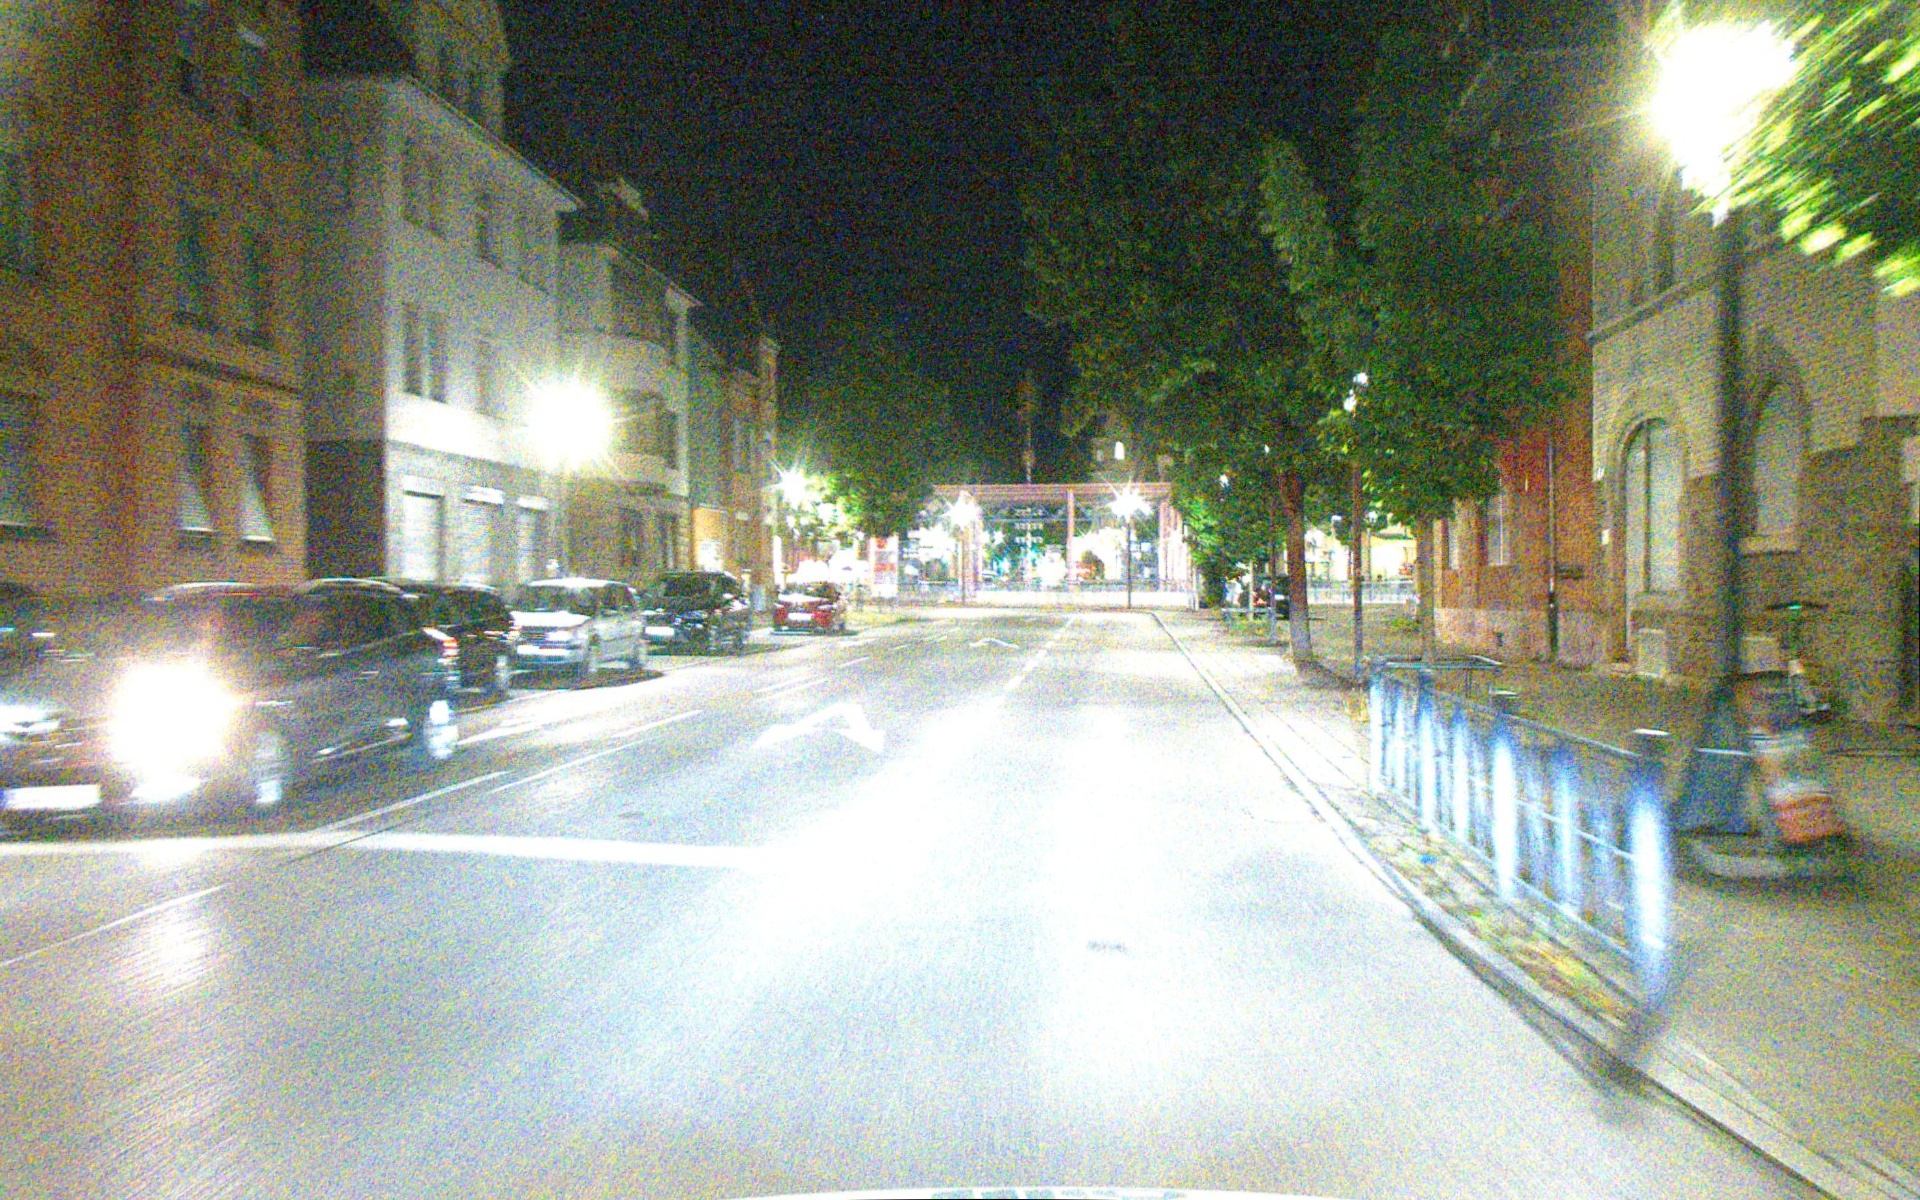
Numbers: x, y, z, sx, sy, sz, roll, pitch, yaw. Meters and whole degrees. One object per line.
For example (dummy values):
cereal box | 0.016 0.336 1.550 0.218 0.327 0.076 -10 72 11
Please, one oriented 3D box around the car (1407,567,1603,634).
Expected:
car | 13.242 0.007 40.398 4.332 1.485 1.791 -1 1 11

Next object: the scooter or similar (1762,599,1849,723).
scooter or similar | 8.438 0.587 16.547 0.412 1.150 1.495 -1 1 13

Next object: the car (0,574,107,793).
car | -7.776 0.628 11.276 1.558 1.517 3.703 2 3 10

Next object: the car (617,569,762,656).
car | -5.465 0.204 34.030 1.747 1.609 4.415 2 1 7

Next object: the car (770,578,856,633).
car | -4.081 0.118 46.512 1.747 1.440 4.129 1 1 4

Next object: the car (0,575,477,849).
car | -4.855 0.599 11.059 1.679 1.454 4.003 -2 1 6

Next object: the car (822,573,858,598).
car | -7.857 -0.977 108.585 1.952 1.601 4.330 -1 1 1

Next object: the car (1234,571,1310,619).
car | 10.139 -0.203 53.971 1.698 1.485 4.729 0 1 2

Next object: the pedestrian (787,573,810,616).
pedestrian | -7.068 -0.255 72.235 0.719 1.853 0.682 1 -1 -41

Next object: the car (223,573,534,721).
car | -6.816 0.465 19.935 1.746 1.517 4.333 2 1 7

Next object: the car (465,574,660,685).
car | -6.097 0.392 25.829 1.747 1.517 4.003 2 1 5
